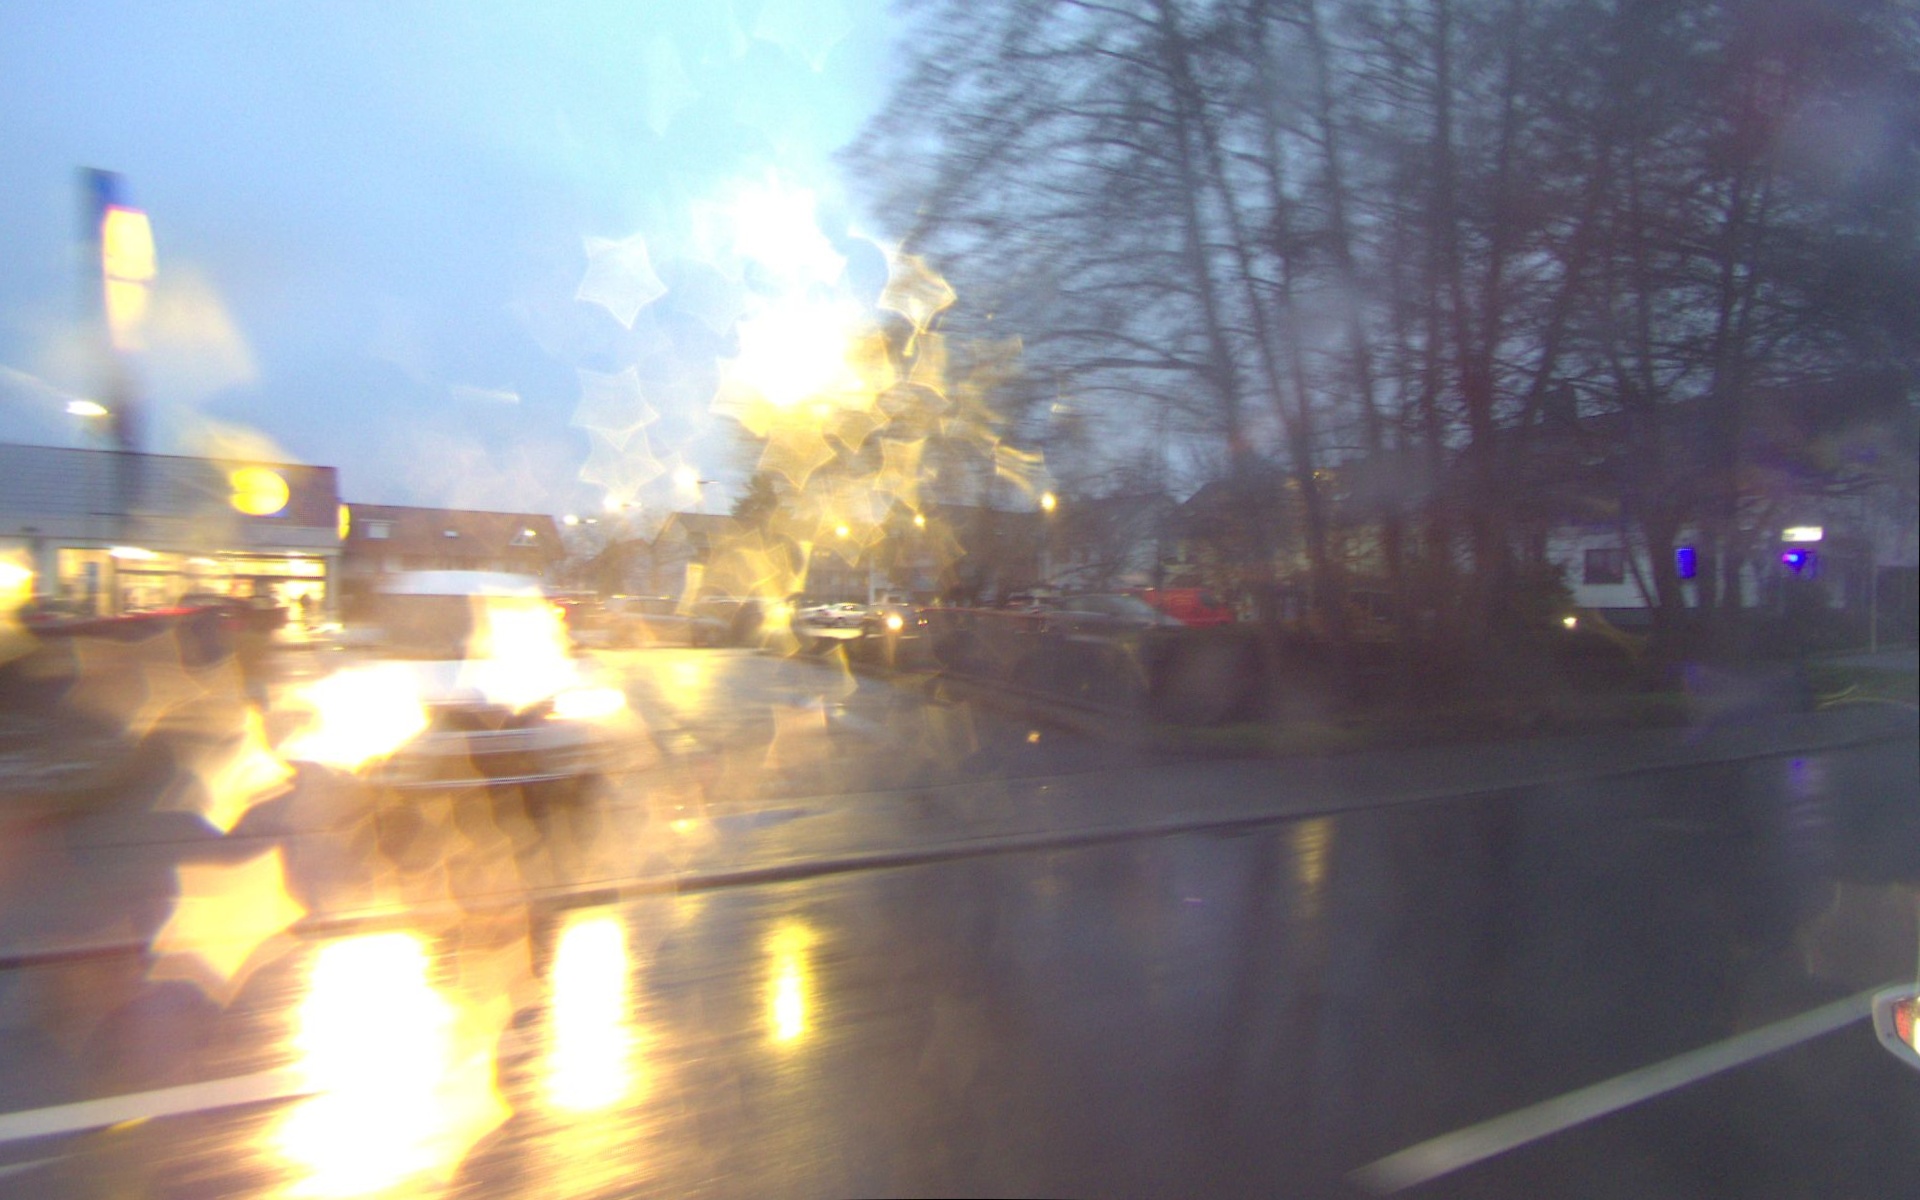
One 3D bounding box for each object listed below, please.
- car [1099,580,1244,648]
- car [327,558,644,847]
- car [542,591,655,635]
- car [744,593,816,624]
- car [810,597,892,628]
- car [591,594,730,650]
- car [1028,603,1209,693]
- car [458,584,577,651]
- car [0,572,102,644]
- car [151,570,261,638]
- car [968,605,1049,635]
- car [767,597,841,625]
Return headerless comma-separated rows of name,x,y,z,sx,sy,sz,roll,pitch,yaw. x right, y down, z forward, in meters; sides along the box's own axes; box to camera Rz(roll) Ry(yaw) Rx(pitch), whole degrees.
car,7.875,0.447,37.298,5.213,2.310,2.266,-1,3,-34
car,-4.077,0.575,8.487,1.877,1.722,4.207,1,3,-29
car,-14.855,0.487,41.361,3.965,1.639,1.897,-2,3,-39
car,-12.703,0.559,70.990,4.611,2.004,2.108,-1,3,-34
car,-6.497,0.725,60.025,4.470,1.662,1.919,-1,4,-34
car,-9.809,0.670,33.009,3.965,1.639,1.897,-2,3,-39
car,4.198,1.190,27.278,2.110,2.004,4.606,-2,3,-40
car,-12.374,0.431,27.957,1.952,1.694,4.371,-1,1,-39
car,-22.034,0.220,23.872,2.035,1.584,4.402,-1,-1,-35
car,-19.115,0.126,25.641,2.035,1.584,4.402,-1,-1,-35
car,2.162,0.848,44.613,3.357,1.146,1.551,-1,4,-34
car,-10.272,0.690,66.382,4.468,1.662,1.920,-1,4,-32
